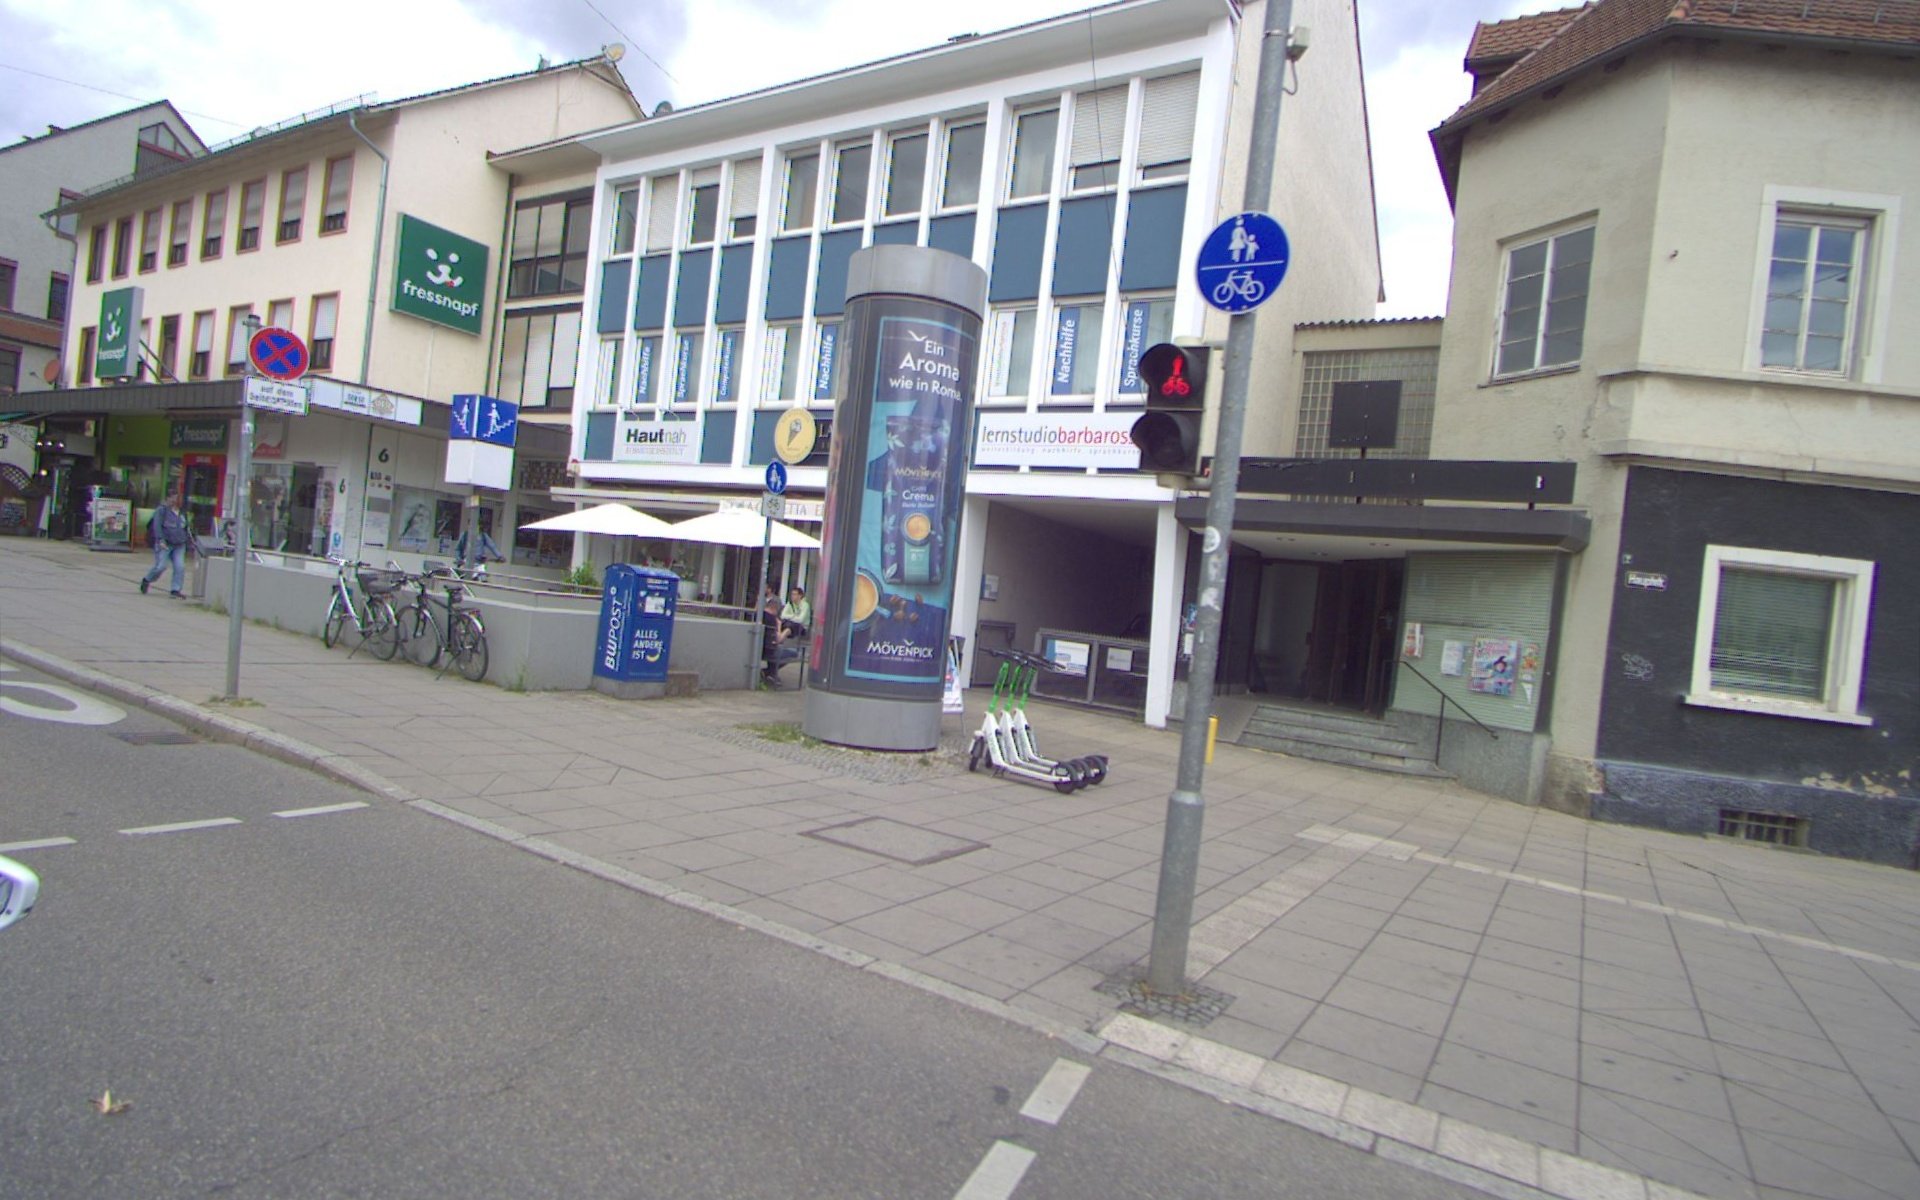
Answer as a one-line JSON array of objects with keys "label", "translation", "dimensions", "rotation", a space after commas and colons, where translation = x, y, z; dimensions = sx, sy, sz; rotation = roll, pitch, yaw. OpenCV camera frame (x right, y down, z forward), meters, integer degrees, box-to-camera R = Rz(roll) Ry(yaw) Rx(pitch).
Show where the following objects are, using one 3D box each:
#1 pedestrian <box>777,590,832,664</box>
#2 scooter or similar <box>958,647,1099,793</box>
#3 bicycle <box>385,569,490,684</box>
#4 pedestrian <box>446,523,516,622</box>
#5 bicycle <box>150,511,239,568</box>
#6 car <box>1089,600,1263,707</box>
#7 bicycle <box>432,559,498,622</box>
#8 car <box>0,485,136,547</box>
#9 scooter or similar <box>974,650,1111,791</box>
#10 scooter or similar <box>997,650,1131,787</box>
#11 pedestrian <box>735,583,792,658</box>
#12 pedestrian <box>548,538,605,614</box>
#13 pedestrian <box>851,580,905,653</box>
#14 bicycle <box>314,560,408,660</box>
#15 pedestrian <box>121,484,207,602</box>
[{"label": "pedestrian", "translation": [-2.791, 0.492, 18.047], "dimensions": [0.578, 1.235, 0.614], "rotation": [7, 0, 30]}, {"label": "scooter or similar", "translation": [0.622, 1.087, 9.358], "dimensions": [1.188, 1.147, 0.314], "rotation": [7, 1, 33]}, {"label": "bicycle", "translation": [-5.584, 0.271, 10.729], "dimensions": [1.365, 1.066, 0.273], "rotation": [7, 1, 33]}, {"label": "pedestrian", "translation": [-8.601, -0.493, 18.061], "dimensions": [0.787, 1.655, 0.666], "rotation": [7, 1, 33]}, {"label": "bicycle", "translation": [-17.560, -1.387, 23.060], "dimensions": [2.311, 1.076, 0.742], "rotation": [7, 2, 30]}, {"label": "car", "translation": [4.271, 1.092, 19.413], "dimensions": [1.708, 1.686, 3.968], "rotation": [7, -1, 35]}, {"label": "bicycle", "translation": [-8.799, -0.176, 17.881], "dimensions": [1.364, 0.986, 0.274], "rotation": [7, 1, 31]}, {"label": "car", "translation": [-33.152, -3.108, 36.514], "dimensions": [1.851, 1.639, 4.607], "rotation": [6, -1, 36]}, {"label": "scooter or similar", "translation": [0.776, 1.131, 9.669], "dimensions": [1.188, 1.147, 0.314], "rotation": [7, 1, 33]}, {"label": "scooter or similar", "translation": [1.015, 1.151, 9.976], "dimensions": [1.188, 1.147, 0.314], "rotation": [7, 1, 33]}, {"label": "pedestrian", "translation": [-3.541, 0.374, 18.135], "dimensions": [0.578, 1.233, 0.615], "rotation": [7, -2, 30]}, {"label": "pedestrian", "translation": [-8.888, -0.551, 23.318], "dimensions": [0.838, 1.655, 0.688], "rotation": [7, 1, 29]}, {"label": "pedestrian", "translation": [-1.516, 0.305, 18.598], "dimensions": [0.578, 1.233, 0.614], "rotation": [7, -2, 31]}, {"label": "bicycle", "translation": [-6.841, 0.103, 11.471], "dimensions": [1.365, 0.986, 0.273], "rotation": [7, 1, 33]}, {"label": "pedestrian", "translation": [-11.988, -0.855, 15.156], "dimensions": [0.840, 1.655, 0.688], "rotation": [7, 1, 35]}]
